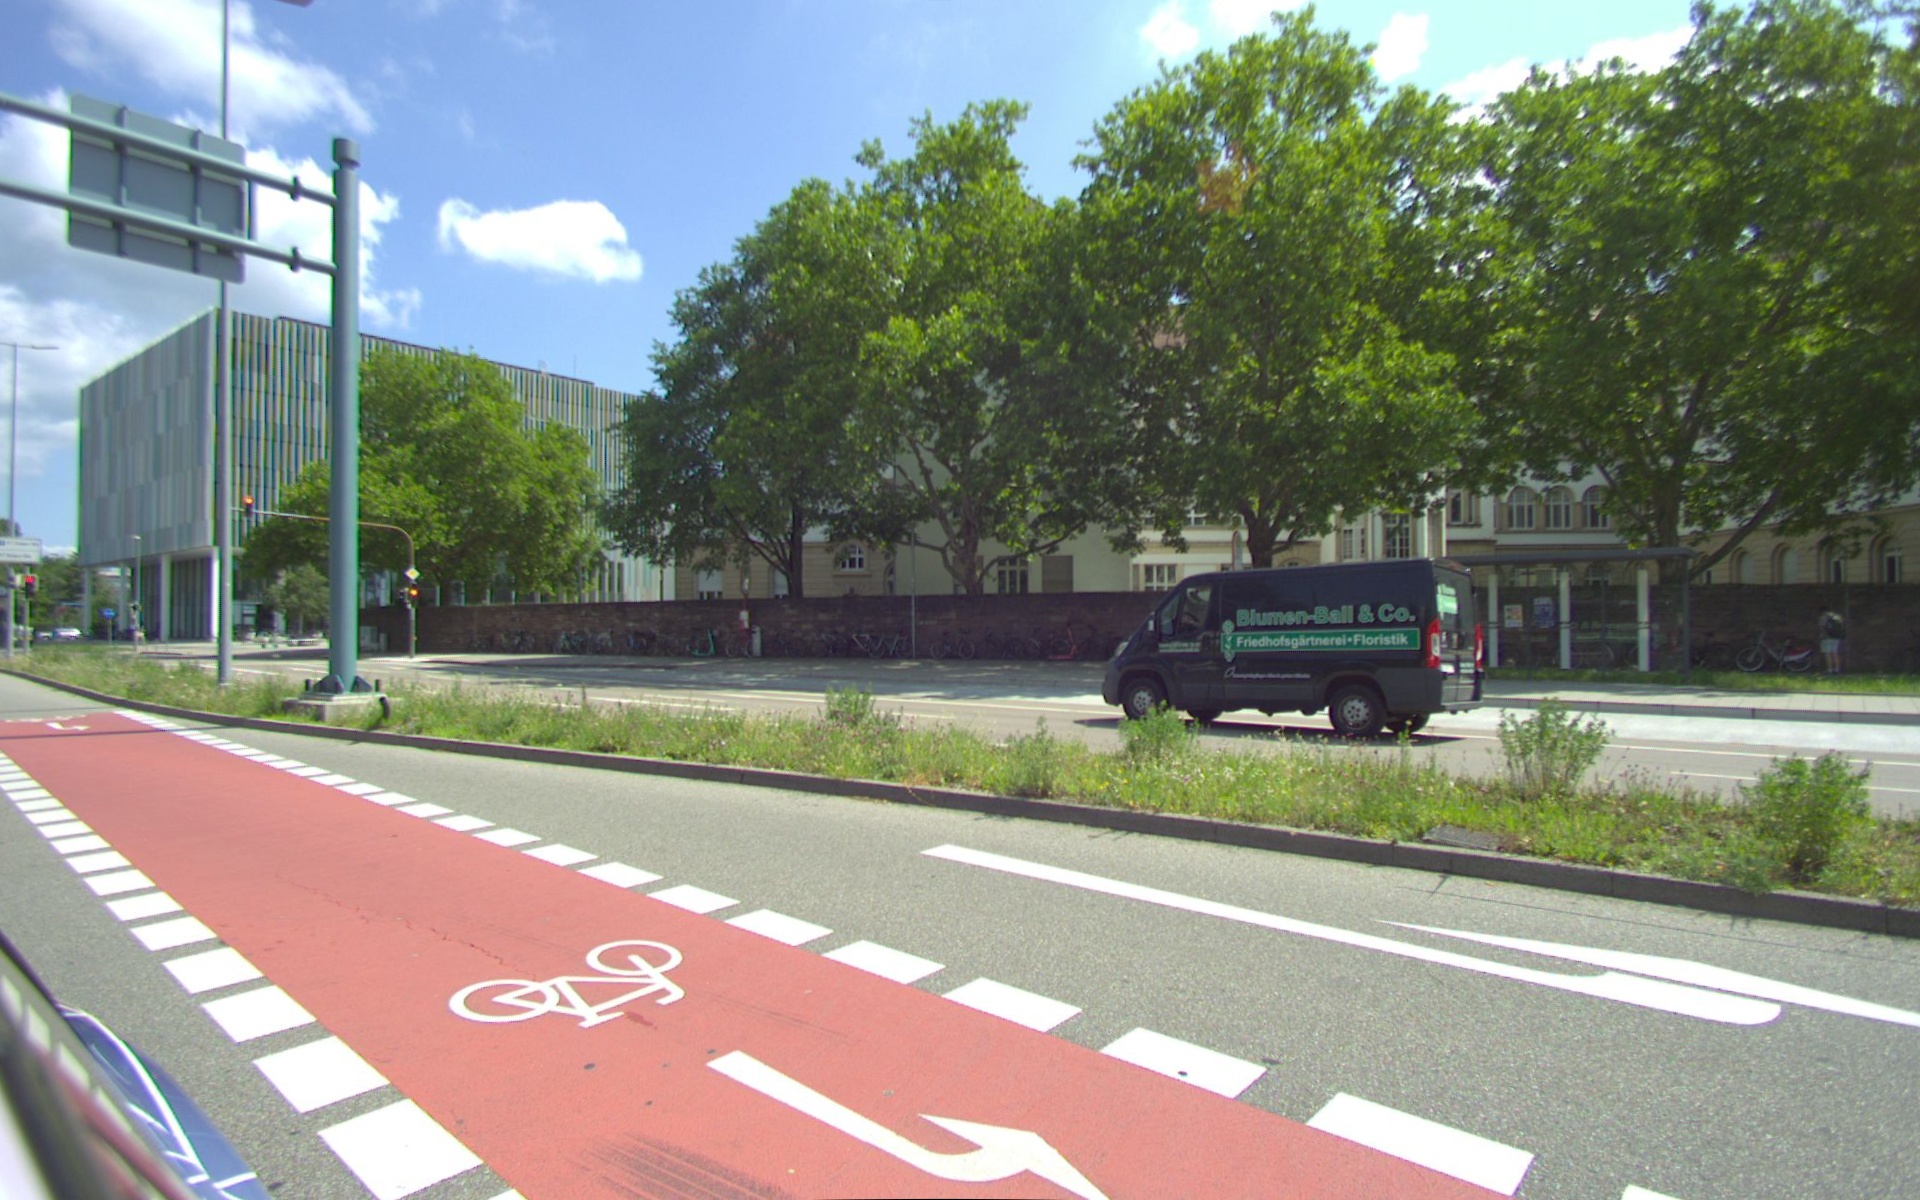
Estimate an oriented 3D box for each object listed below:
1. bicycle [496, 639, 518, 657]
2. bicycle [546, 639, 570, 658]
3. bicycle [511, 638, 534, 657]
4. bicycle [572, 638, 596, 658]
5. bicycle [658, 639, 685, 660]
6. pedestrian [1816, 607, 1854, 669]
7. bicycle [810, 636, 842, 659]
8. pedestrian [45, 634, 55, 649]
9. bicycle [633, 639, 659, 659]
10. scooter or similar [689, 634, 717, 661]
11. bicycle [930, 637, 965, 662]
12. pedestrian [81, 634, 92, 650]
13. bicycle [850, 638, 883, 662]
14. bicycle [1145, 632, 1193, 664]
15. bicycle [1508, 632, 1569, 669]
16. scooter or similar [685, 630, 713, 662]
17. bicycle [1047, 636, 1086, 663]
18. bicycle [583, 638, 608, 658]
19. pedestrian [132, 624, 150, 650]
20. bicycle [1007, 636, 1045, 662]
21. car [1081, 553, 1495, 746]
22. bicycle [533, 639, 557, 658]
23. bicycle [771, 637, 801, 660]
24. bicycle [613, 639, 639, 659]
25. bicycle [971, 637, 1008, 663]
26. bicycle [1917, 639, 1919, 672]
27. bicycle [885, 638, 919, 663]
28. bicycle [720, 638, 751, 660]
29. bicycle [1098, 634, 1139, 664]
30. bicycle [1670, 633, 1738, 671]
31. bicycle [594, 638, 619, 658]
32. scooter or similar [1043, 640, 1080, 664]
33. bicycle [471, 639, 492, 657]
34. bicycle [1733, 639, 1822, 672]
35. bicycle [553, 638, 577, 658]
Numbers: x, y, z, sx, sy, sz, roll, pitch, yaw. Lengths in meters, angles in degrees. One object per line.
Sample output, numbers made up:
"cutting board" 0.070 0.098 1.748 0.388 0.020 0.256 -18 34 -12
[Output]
"bicycle" -21.041 2.222 46.964 1.231 0.837 0.262 -2 -2 30
"bicycle" -17.470 2.096 43.963 1.230 0.837 0.262 -1 -2 29
"bicycle" -19.960 2.175 46.195 1.230 0.837 0.262 -1 -2 29
"bicycle" -16.255 2.083 43.723 1.231 0.837 0.262 -2 -2 30
"bicycle" -11.556 1.967 40.578 1.231 0.837 0.262 -2 -2 30
"pedestrian" 21.434 0.928 24.795 0.633 1.484 0.504 -2 -2 39
"bicycle" -4.878 1.722 36.855 1.231 0.837 0.262 -1 -2 30
"pedestrian" -88.732 4.054 98.709 0.686 1.464 0.689 1 -3 -45
"bicycle" -12.864 2.007 41.424 1.231 0.837 0.262 -2 -2 30
"scooter or similar" -10.132 1.869 39.916 1.133 1.028 0.264 -1 -2 19
"bicycle" -0.430 1.672 34.254 1.230 0.837 0.262 -1 -2 28
"pedestrian" -80.292 3.865 93.008 0.686 1.464 0.689 1 -3 -45
"bicycle" -3.318 1.753 35.894 1.231 0.837 0.262 -1 -2 30
"bicycle" 6.404 1.475 31.011 1.385 0.972 0.263 -1 -2 20
"bicycle" 15.642 1.368 27.385 1.384 0.972 0.263 -1 -2 18
"scooter or similar" -10.024 1.760 38.880 1.230 1.199 0.262 -1 -2 29
"bicycle" 3.420 1.593 32.454 1.230 0.837 0.262 -1 -2 28
"bicycle" -15.319 2.005 42.553 1.230 0.837 0.262 -1 -2 29
"pedestrian" -63.984 2.912 79.063 0.994 2.029 0.853 -2 -2 39
"bicycle" 2.144 1.610 33.066 1.230 0.837 0.262 -1 -2 28
"car" 4.344 0.674 13.973 5.016 2.192 2.125 -2 -4 41
"bicycle" -18.583 2.163 45.307 1.230 0.837 0.262 -1 -2 29
"bicycle" -6.458 1.810 37.563 1.231 0.837 0.262 -1 -2 30
"bicycle" -13.919 2.026 42.144 1.231 0.837 0.262 -2 -2 30
"bicycle" 0.972 1.658 33.715 1.230 0.837 0.262 -1 -2 28
"bicycle" 24.441 1.354 24.564 1.734 0.823 0.382 -1 -2 18
"bicycle" -2.003 1.751 35.113 1.231 0.837 0.262 -1 -2 30
"bicycle" -8.635 1.886 38.947 1.226 0.837 0.263 -1 -2 19
"bicycle" 4.940 1.521 31.559 1.230 0.915 0.262 -1 -2 28
"bicycle" 19.244 1.344 26.191 1.384 0.972 0.263 -1 -2 18
"bicycle" -14.972 2.017 42.877 1.231 0.837 0.262 -2 -2 30
"scooter or similar" 3.190 1.628 31.805 1.133 0.734 0.264 -1 -2 18
"bicycle" -22.679 2.272 47.956 1.231 0.837 0.262 -2 -2 30
"bicycle" 20.756 1.404 25.717 1.734 0.823 0.327 -1 -2 18
"bicycle" -17.394 2.112 44.557 1.230 0.837 0.262 -1 -2 29
